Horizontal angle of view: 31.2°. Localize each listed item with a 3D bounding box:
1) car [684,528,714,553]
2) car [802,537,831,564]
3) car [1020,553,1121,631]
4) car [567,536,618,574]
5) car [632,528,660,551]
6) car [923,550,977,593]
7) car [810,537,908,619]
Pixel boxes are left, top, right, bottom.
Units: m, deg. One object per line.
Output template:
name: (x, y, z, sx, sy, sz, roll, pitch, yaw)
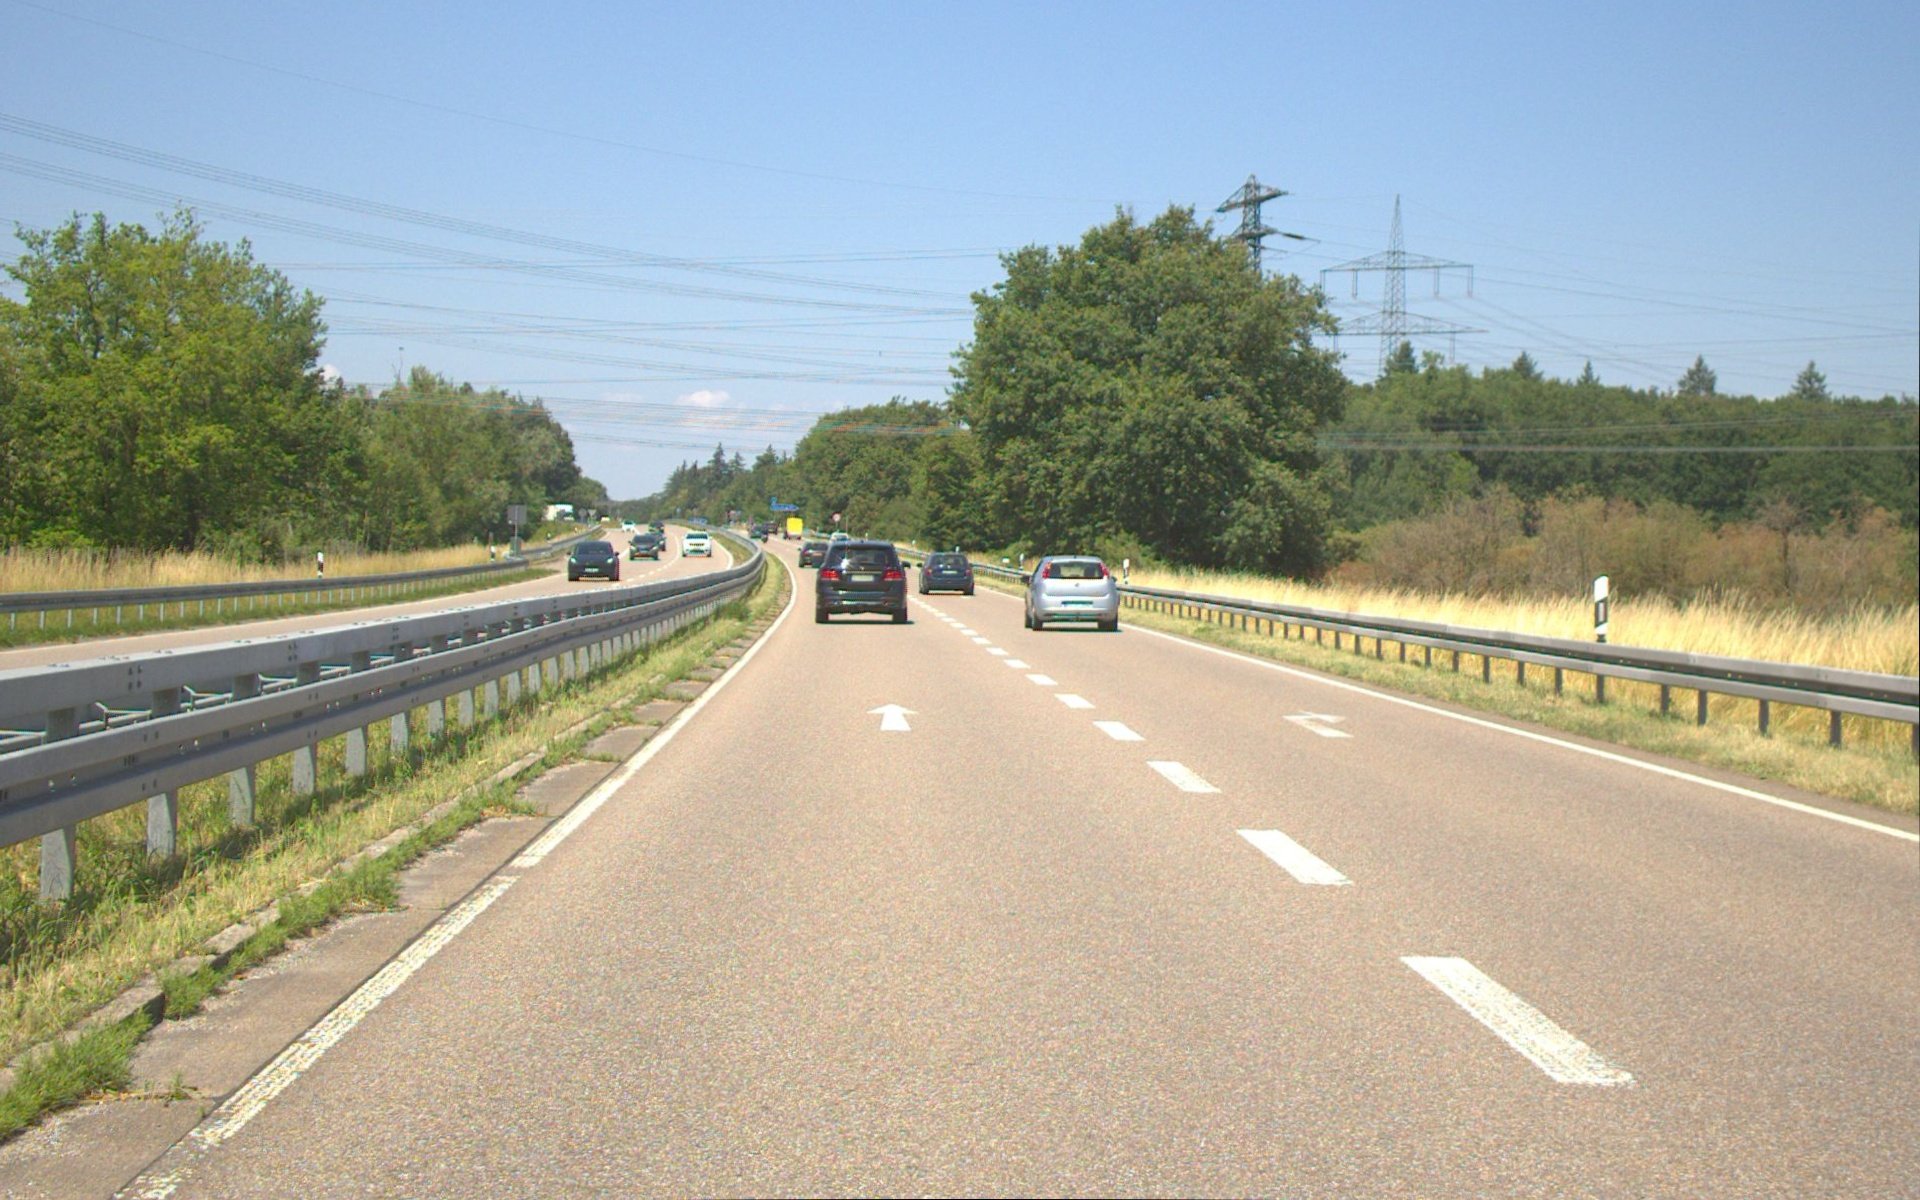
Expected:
car: (-17.993, -4.083, 236.652, 1.993, 1.656, 4.001, 1, 1, -5)
car: (-7.915, -2.744, 190.089, 1.514, 1.470, 3.066, 1, 1, -1)
car: (2.156, -0.178, 68.198, 1.779, 1.474, 4.315, 1, 1, -1)
car: (-14.874, -1.816, 139.210, 1.831, 1.470, 3.685, 1, 1, -3)
car: (-20.078, -3.856, 219.968, 1.614, 1.470, 3.066, 1, 1, -2)
car: (-0.365, -0.993, 117.881, 1.819, 1.409, 4.000, 1, 1, -1)
car: (-2.107, -0.477, 72.859, 1.993, 1.649, 4.000, 1, 1, -1)
